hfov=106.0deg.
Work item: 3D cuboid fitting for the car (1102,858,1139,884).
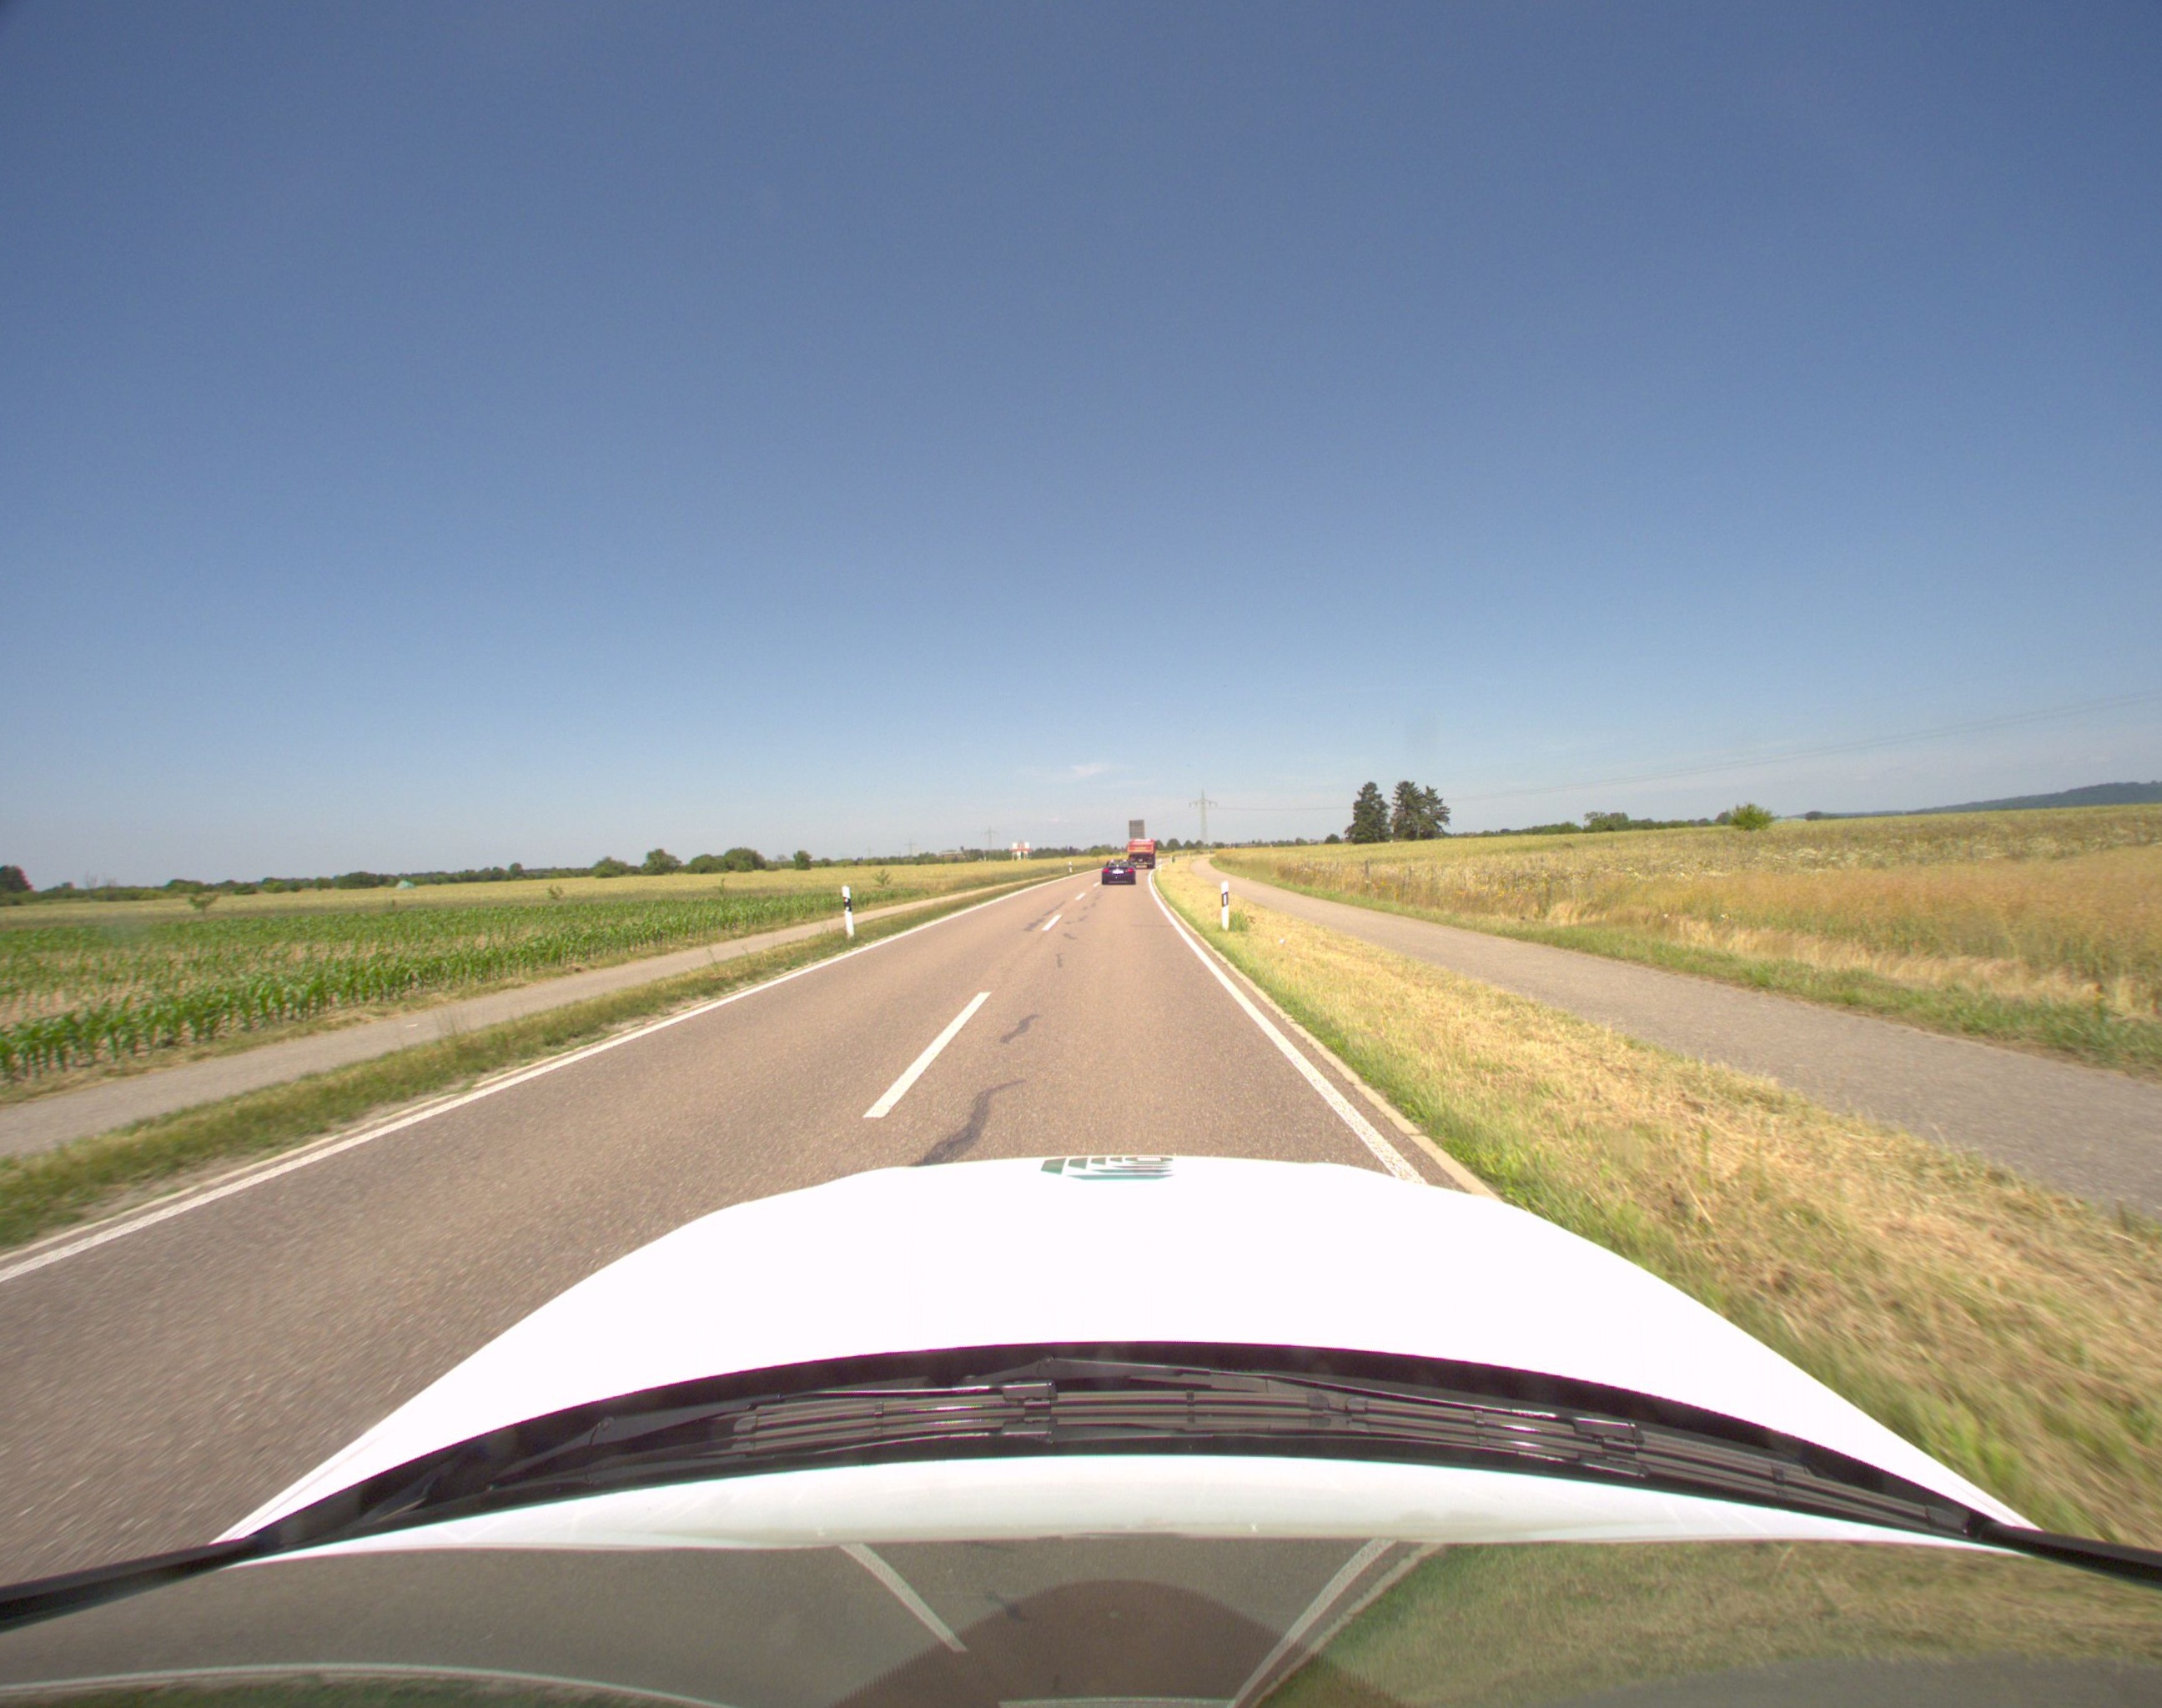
[{"bbox_3d":[2.122,0.895,43.380,1.735,1.280,4.006,-1,-1,6],"label":"car"}]

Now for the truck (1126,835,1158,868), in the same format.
[{"bbox_3d":[6.228,-0.204,82.343,2.923,3.089,7.208,-1,-1,6],"label":"truck"}]
